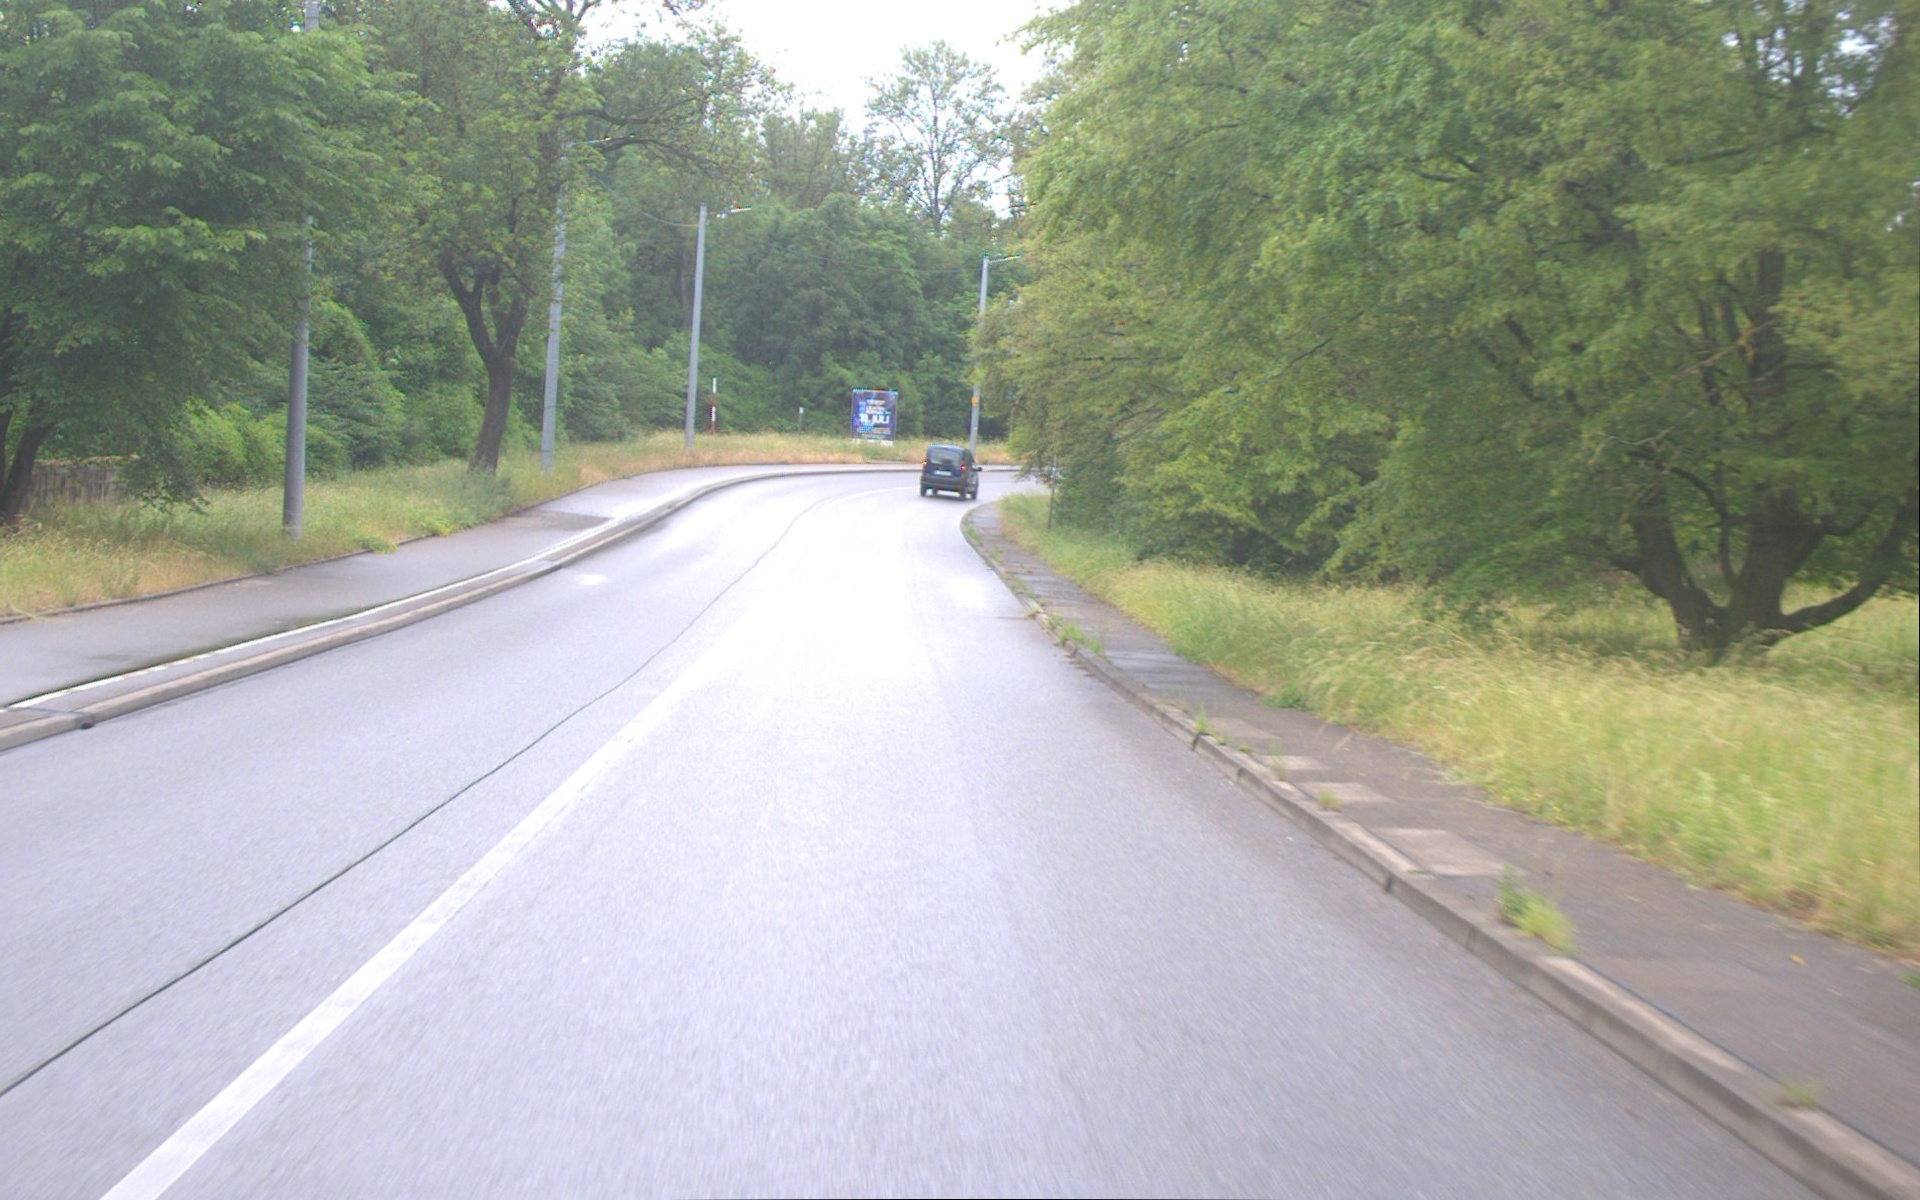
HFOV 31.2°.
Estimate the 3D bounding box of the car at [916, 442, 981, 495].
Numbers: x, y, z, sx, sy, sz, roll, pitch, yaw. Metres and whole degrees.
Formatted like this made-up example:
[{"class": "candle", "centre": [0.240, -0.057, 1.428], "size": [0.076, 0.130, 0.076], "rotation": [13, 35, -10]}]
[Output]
[{"class": "car", "centre": [-0.386, -4.634, 121.538], "size": [1.742, 1.711, 3.999], "rotation": [4, 2, 7]}]
